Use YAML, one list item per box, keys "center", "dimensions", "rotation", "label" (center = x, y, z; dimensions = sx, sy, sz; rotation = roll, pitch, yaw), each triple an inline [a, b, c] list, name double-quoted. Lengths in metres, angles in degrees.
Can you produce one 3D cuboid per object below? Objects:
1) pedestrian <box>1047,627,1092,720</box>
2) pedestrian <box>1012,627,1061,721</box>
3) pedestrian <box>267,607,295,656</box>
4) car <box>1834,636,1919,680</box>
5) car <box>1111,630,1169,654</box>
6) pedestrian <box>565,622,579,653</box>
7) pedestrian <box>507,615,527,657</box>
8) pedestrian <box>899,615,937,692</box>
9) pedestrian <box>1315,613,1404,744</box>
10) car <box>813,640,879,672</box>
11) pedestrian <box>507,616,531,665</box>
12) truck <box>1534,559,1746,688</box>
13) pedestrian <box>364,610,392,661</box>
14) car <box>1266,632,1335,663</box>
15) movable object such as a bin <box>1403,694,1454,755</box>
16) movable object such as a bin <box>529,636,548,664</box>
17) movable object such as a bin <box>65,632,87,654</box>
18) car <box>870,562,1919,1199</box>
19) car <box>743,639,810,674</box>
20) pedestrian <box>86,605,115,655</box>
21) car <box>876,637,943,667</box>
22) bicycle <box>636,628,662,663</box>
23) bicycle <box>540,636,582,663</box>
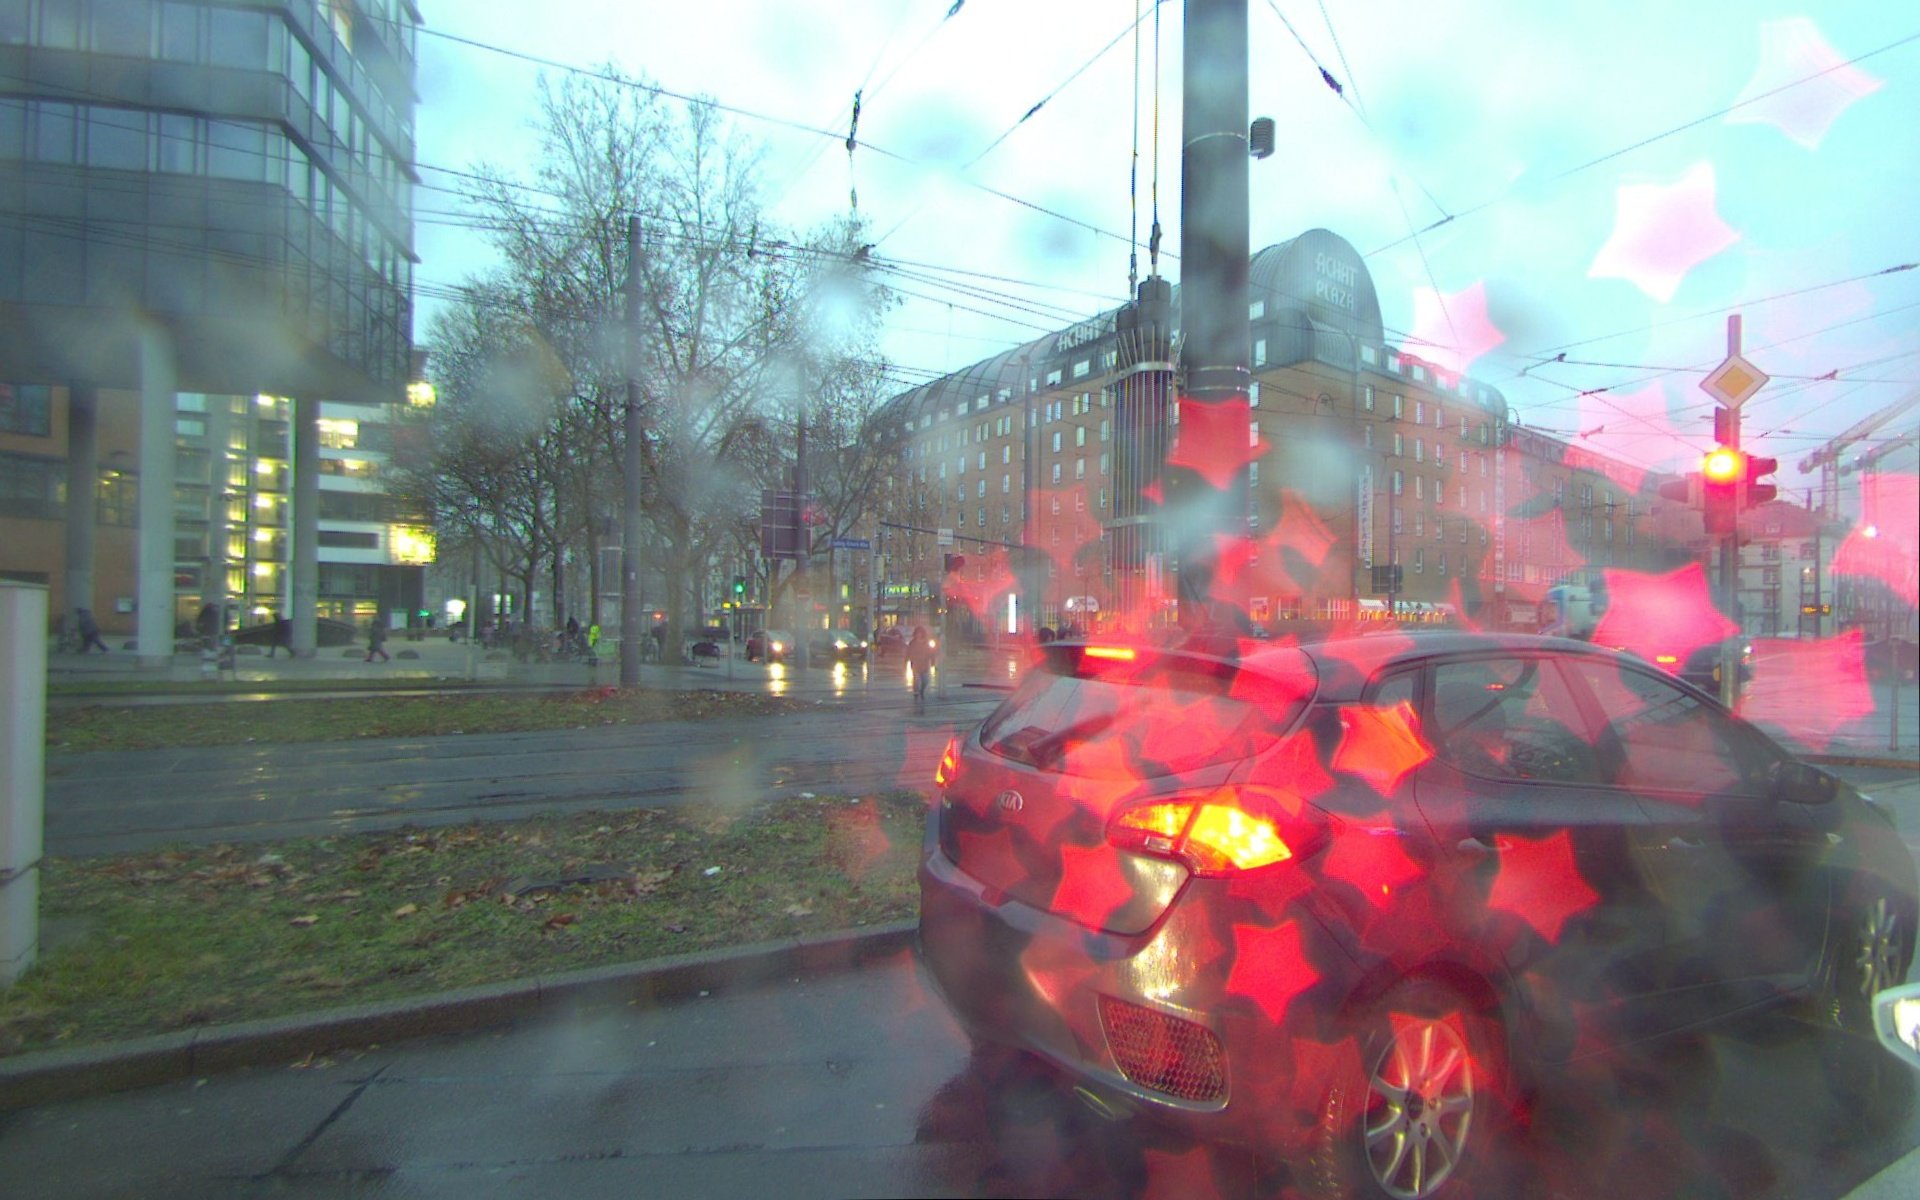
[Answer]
- center: [1.859, 1.235, 17.066]
  dimensions: [0.604, 1.532, 0.519]
  rotation: [1, -1, -18]
  label: "pedestrian"
- center: [1.266, 1.213, 16.683]
  dimensions: [0.635, 1.532, 0.560]
  rotation: [1, -1, -18]
  label: "pedestrian"
- center: [-24.553, 1.144, 36.340]
  dimensions: [0.776, 1.734, 0.650]
  rotation: [1, -2, -32]
  label: "pedestrian"
- center: [35.043, 2.164, 37.233]
  dimensions: [3.940, 1.460, 1.706]
  rotation: [1, 0, 41]
  label: "car"
- center: [11.851, 2.768, 66.324]
  dimensions: [1.685, 1.478, 3.724]
  rotation: [2, -2, -33]
  label: "car"
- center: [-19.591, 1.900, 50.712]
  dimensions: [0.637, 1.577, 0.765]
  rotation: [1, -1, -22]
  label: "pedestrian"
- center: [-19.958, 1.625, 45.254]
  dimensions: [0.719, 1.840, 0.773]
  rotation: [1, -1, -30]
  label: "pedestrian"
- center: [-0.839, 1.060, 20.050]
  dimensions: [0.724, 1.519, 0.676]
  rotation: [1, -1, -4]
  label: "pedestrian"
- center: [5.166, 1.001, 13.006]
  dimensions: [1.017, 1.621, 0.716]
  rotation: [-1, -3, 22]
  label: "pedestrian"
- center: [-5.797, 2.796, 50.632]
  dimensions: [1.975, 1.483, 3.970]
  rotation: [1, -2, -28]
  label: "car"
- center: [-16.968, 1.555, 38.658]
  dimensions: [0.778, 1.828, 0.868]
  rotation: [1, -1, -22]
  label: "pedestrian"
- center: [21.655, 0.753, 32.599]
  dimensions: [2.790, 3.681, 7.532]
  rotation: [0, -1, 9]
  label: "truck"
- center: [-20.841, 1.276, 35.993]
  dimensions: [0.811, 1.797, 0.568]
  rotation: [1, -2, -29]
  label: "pedestrian"
- center: [17.810, 2.446, 52.717]
  dimensions: [1.680, 1.467, 3.993]
  rotation: [1, -1, -10]
  label: "car"
- center: [5.822, 1.541, 12.497]
  dimensions: [0.527, 0.708, 0.412]
  rotation: [0, -3, 21]
  label: "movable object such as a bin"
- center: [-16.309, 1.941, 38.885]
  dimensions: [0.637, 1.048, 0.572]
  rotation: [1, -1, -23]
  label: "movable object such as a bin"
- center: [-28.807, 1.408, 32.738]
  dimensions: [0.481, 0.698, 0.353]
  rotation: [2, -2, -38]
  label: "movable object such as a bin"
- center: [1.777, 0.738, 3.645]
  dimensions: [3.894, 1.543, 1.623]
  rotation: [1, -2, -29]
  label: "car"
- center: [-8.733, 2.643, 47.549]
  dimensions: [1.975, 1.483, 3.970]
  rotation: [1, -2, -28]
  label: "car"
- center: [-28.311, 0.973, 33.110]
  dimensions: [0.670, 1.629, 0.449]
  rotation: [1, -2, -38]
  label: "pedestrian"
- center: [-2.692, 2.695, 52.578]
  dimensions: [1.975, 1.483, 3.970]
  rotation: [1, -2, -28]
  label: "car"
- center: [-12.248, 1.774, 39.542]
  dimensions: [0.624, 1.336, 2.296]
  rotation: [1, -2, -25]
  label: "bicycle"
- center: [-16.343, 2.011, 41.171]
  dimensions: [1.564, 1.088, 0.451]
  rotation: [1, -2, -20]
  label: "bicycle"
